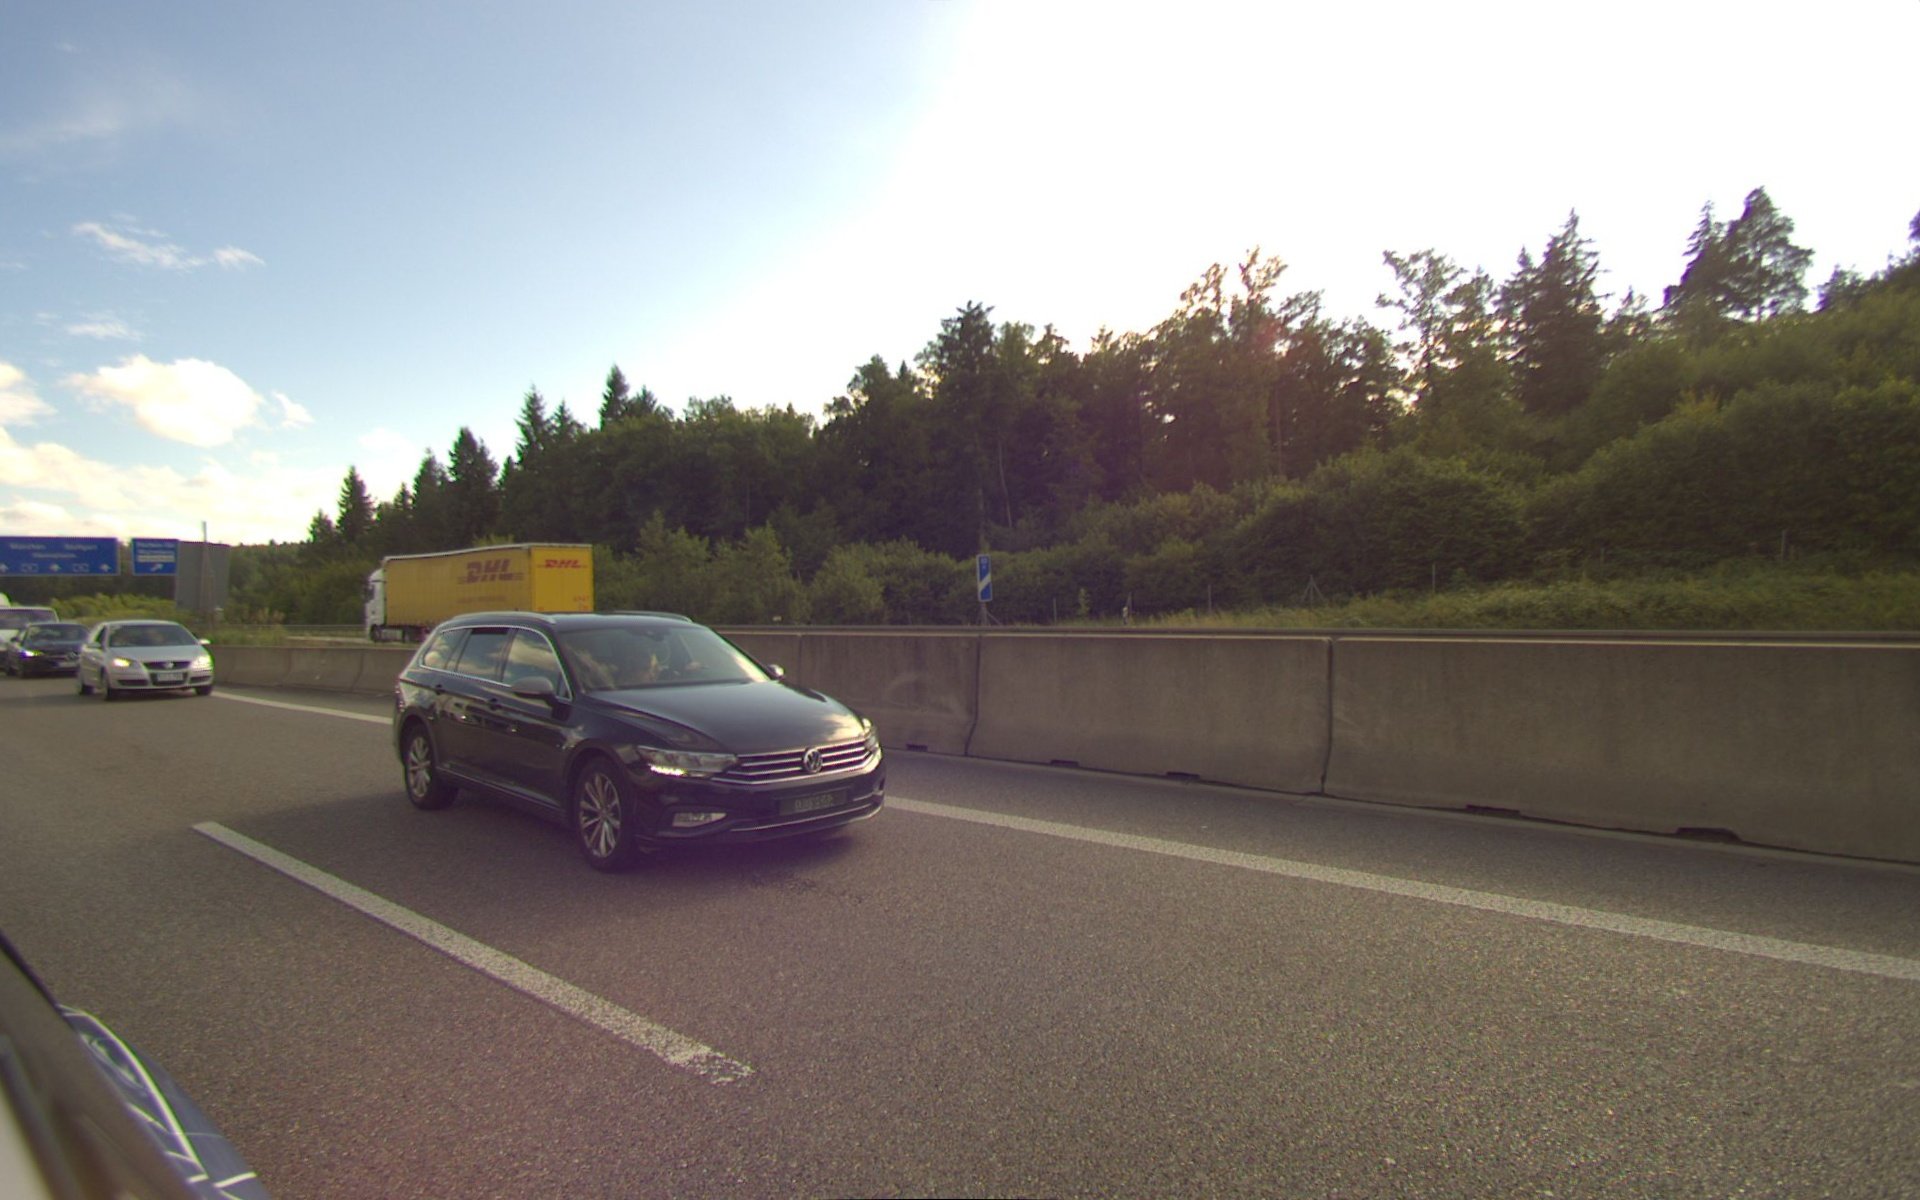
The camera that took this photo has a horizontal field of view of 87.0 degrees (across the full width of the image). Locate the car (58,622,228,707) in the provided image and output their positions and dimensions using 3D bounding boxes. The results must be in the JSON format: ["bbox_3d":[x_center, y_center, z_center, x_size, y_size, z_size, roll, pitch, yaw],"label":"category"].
[{"bbox_3d":[-16.106,1.183,19.858,4.663,1.442,1.786,-1,0,41],"label":"car"}]

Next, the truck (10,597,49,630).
[{"bbox_3d":[-125.457,1.805,136.410,12.043,4.234,2.803,-1,0,43],"label":"truck"}]

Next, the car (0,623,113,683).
[{"bbox_3d":[-24.298,1.375,27.153,3.991,1.442,1.786,-1,0,41],"label":"car"}]

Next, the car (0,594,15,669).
[{"bbox_3d":[-35.825,1.122,36.409,5.858,2.591,2.028,-1,-2,41],"label":"car"}]

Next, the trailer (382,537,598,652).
[{"bbox_3d":[-20.118,-0.154,42.564,13.553,4.234,2.805,-1,0,40],"label":"trailer"}]

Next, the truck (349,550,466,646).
[{"bbox_3d":[-26.067,-0.060,47.638,6.075,4.234,2.805,-1,0,40],"label":"truck"}]

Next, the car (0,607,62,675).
[{"bbox_3d":[-29.725,1.262,31.580,4.845,1.980,1.922,-1,0,41],"label":"car"}]

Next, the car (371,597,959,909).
[{"bbox_3d":[-2.323,0.771,7.101,4.568,1.488,1.890,-1,-1,43],"label":"car"}]
